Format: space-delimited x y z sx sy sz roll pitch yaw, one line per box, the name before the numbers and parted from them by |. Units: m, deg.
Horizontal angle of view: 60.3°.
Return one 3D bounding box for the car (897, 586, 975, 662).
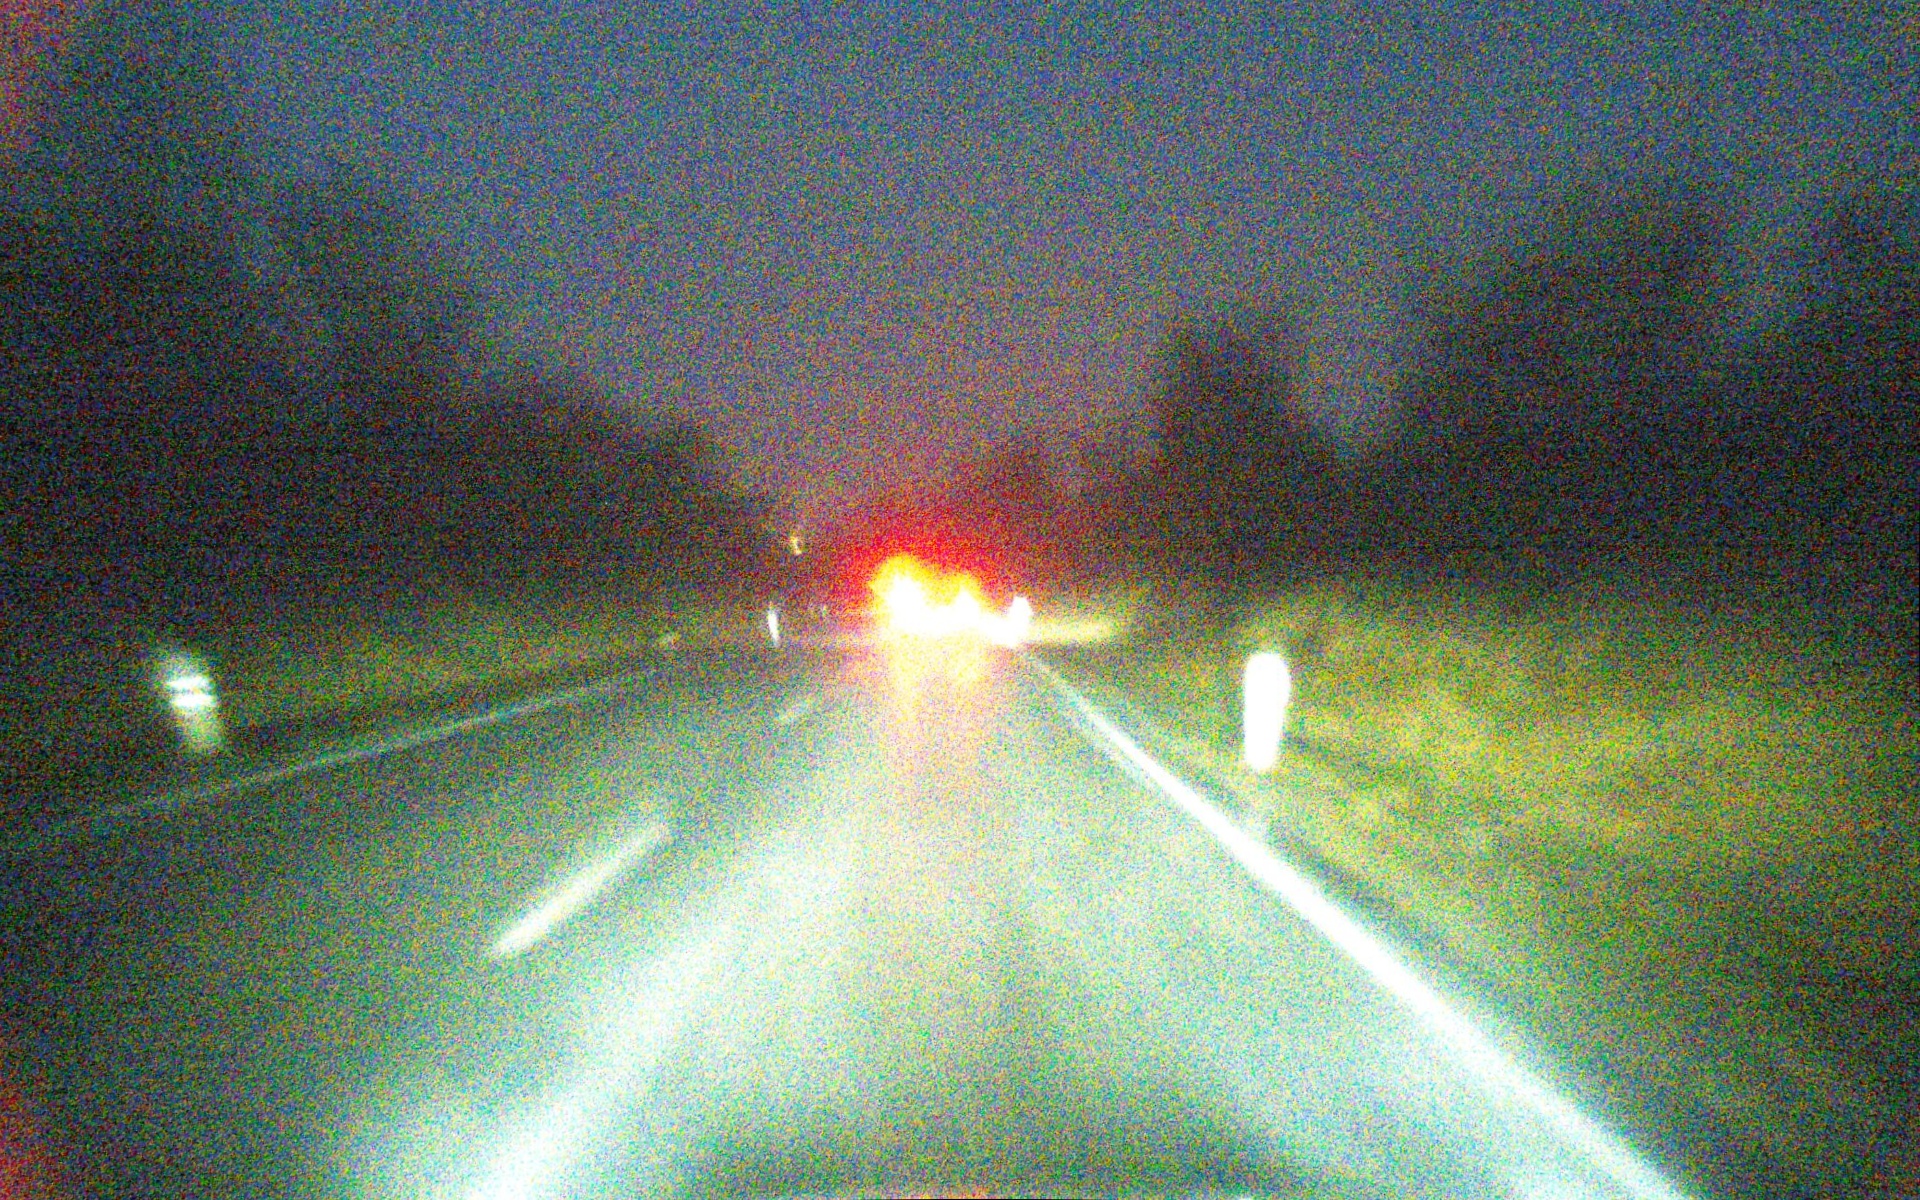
car | -0.586 0.548 40.449 1.805 1.771 3.999 0 0 -1
